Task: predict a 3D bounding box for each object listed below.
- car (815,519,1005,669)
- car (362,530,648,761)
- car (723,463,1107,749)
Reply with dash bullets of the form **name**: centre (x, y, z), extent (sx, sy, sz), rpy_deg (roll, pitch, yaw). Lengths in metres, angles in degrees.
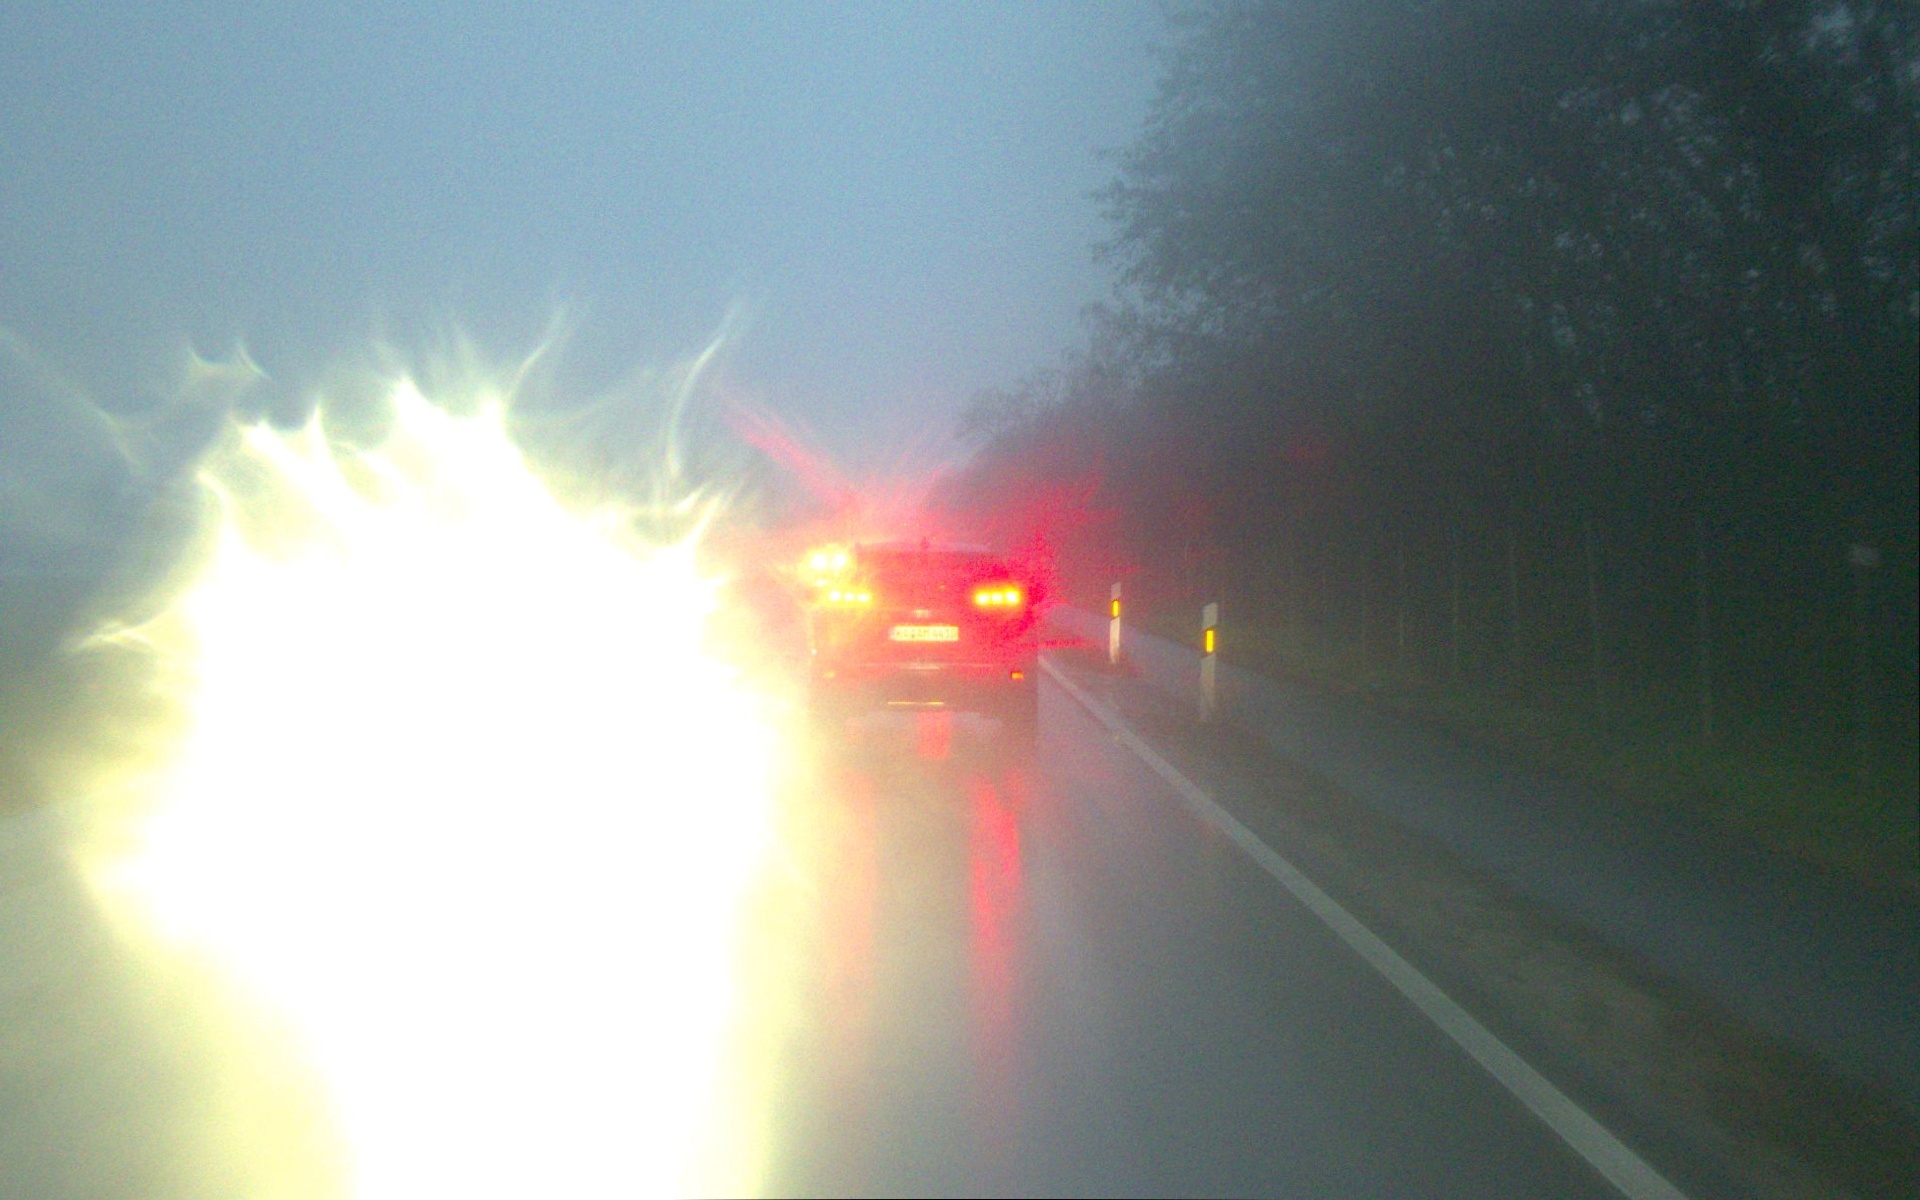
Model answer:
- **car**: centre (-0.690, -0.119, 50.508), extent (2.592, 2.007, 5.804), rpy_deg (1, 1, 0)
- **car**: centre (-3.907, 0.339, 30.162), extent (1.993, 1.816, 4.000), rpy_deg (-2, 1, -1)
- **car**: centre (-0.336, 0.007, 28.549), extent (2.820, 2.070, 5.804), rpy_deg (1, 1, 0)
